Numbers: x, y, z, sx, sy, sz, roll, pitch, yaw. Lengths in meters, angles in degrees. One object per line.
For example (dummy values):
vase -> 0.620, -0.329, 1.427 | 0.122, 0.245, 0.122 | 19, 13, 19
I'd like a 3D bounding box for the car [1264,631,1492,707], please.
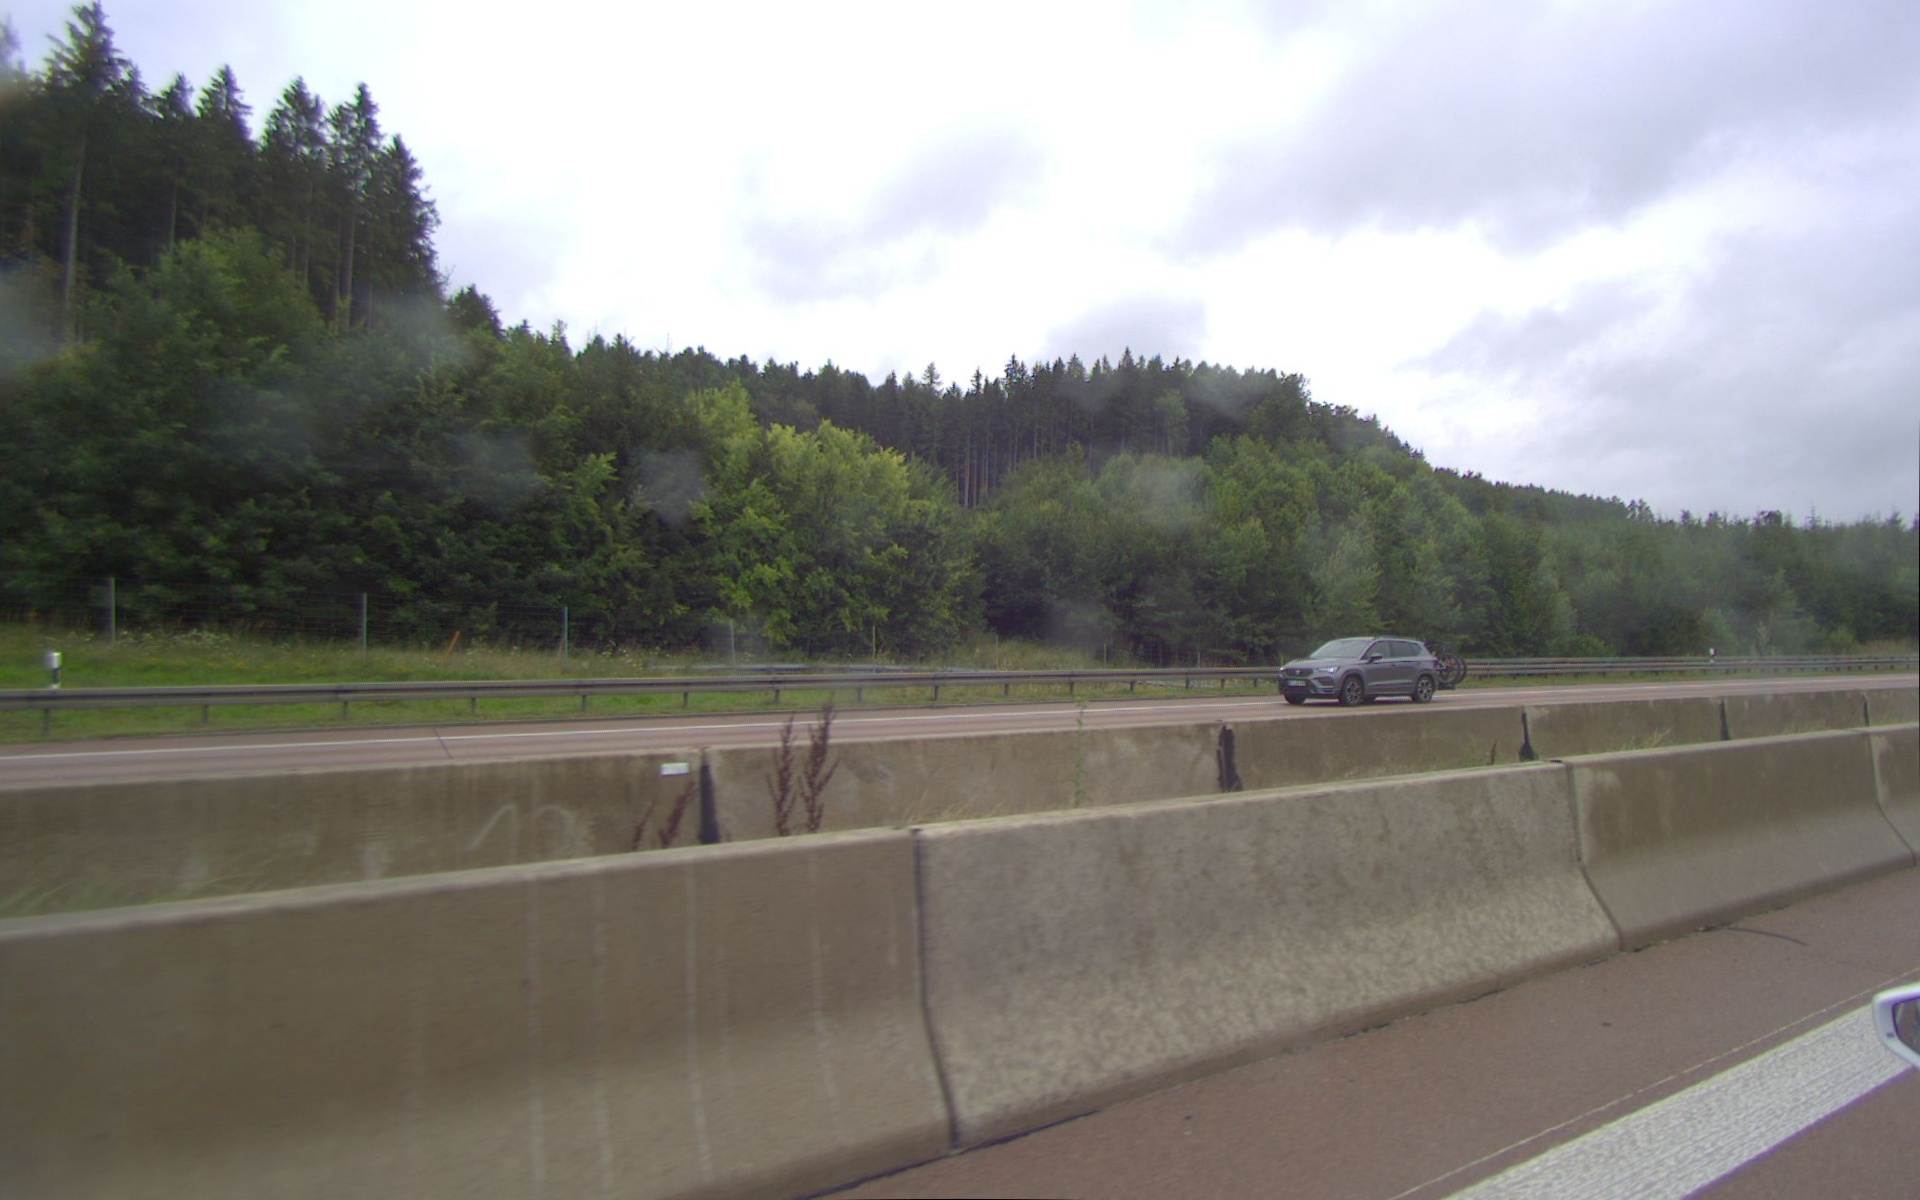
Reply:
car -> 10.154, 1.658, 24.238 | 5.675, 1.581, 1.985 | 3, -1, -29
